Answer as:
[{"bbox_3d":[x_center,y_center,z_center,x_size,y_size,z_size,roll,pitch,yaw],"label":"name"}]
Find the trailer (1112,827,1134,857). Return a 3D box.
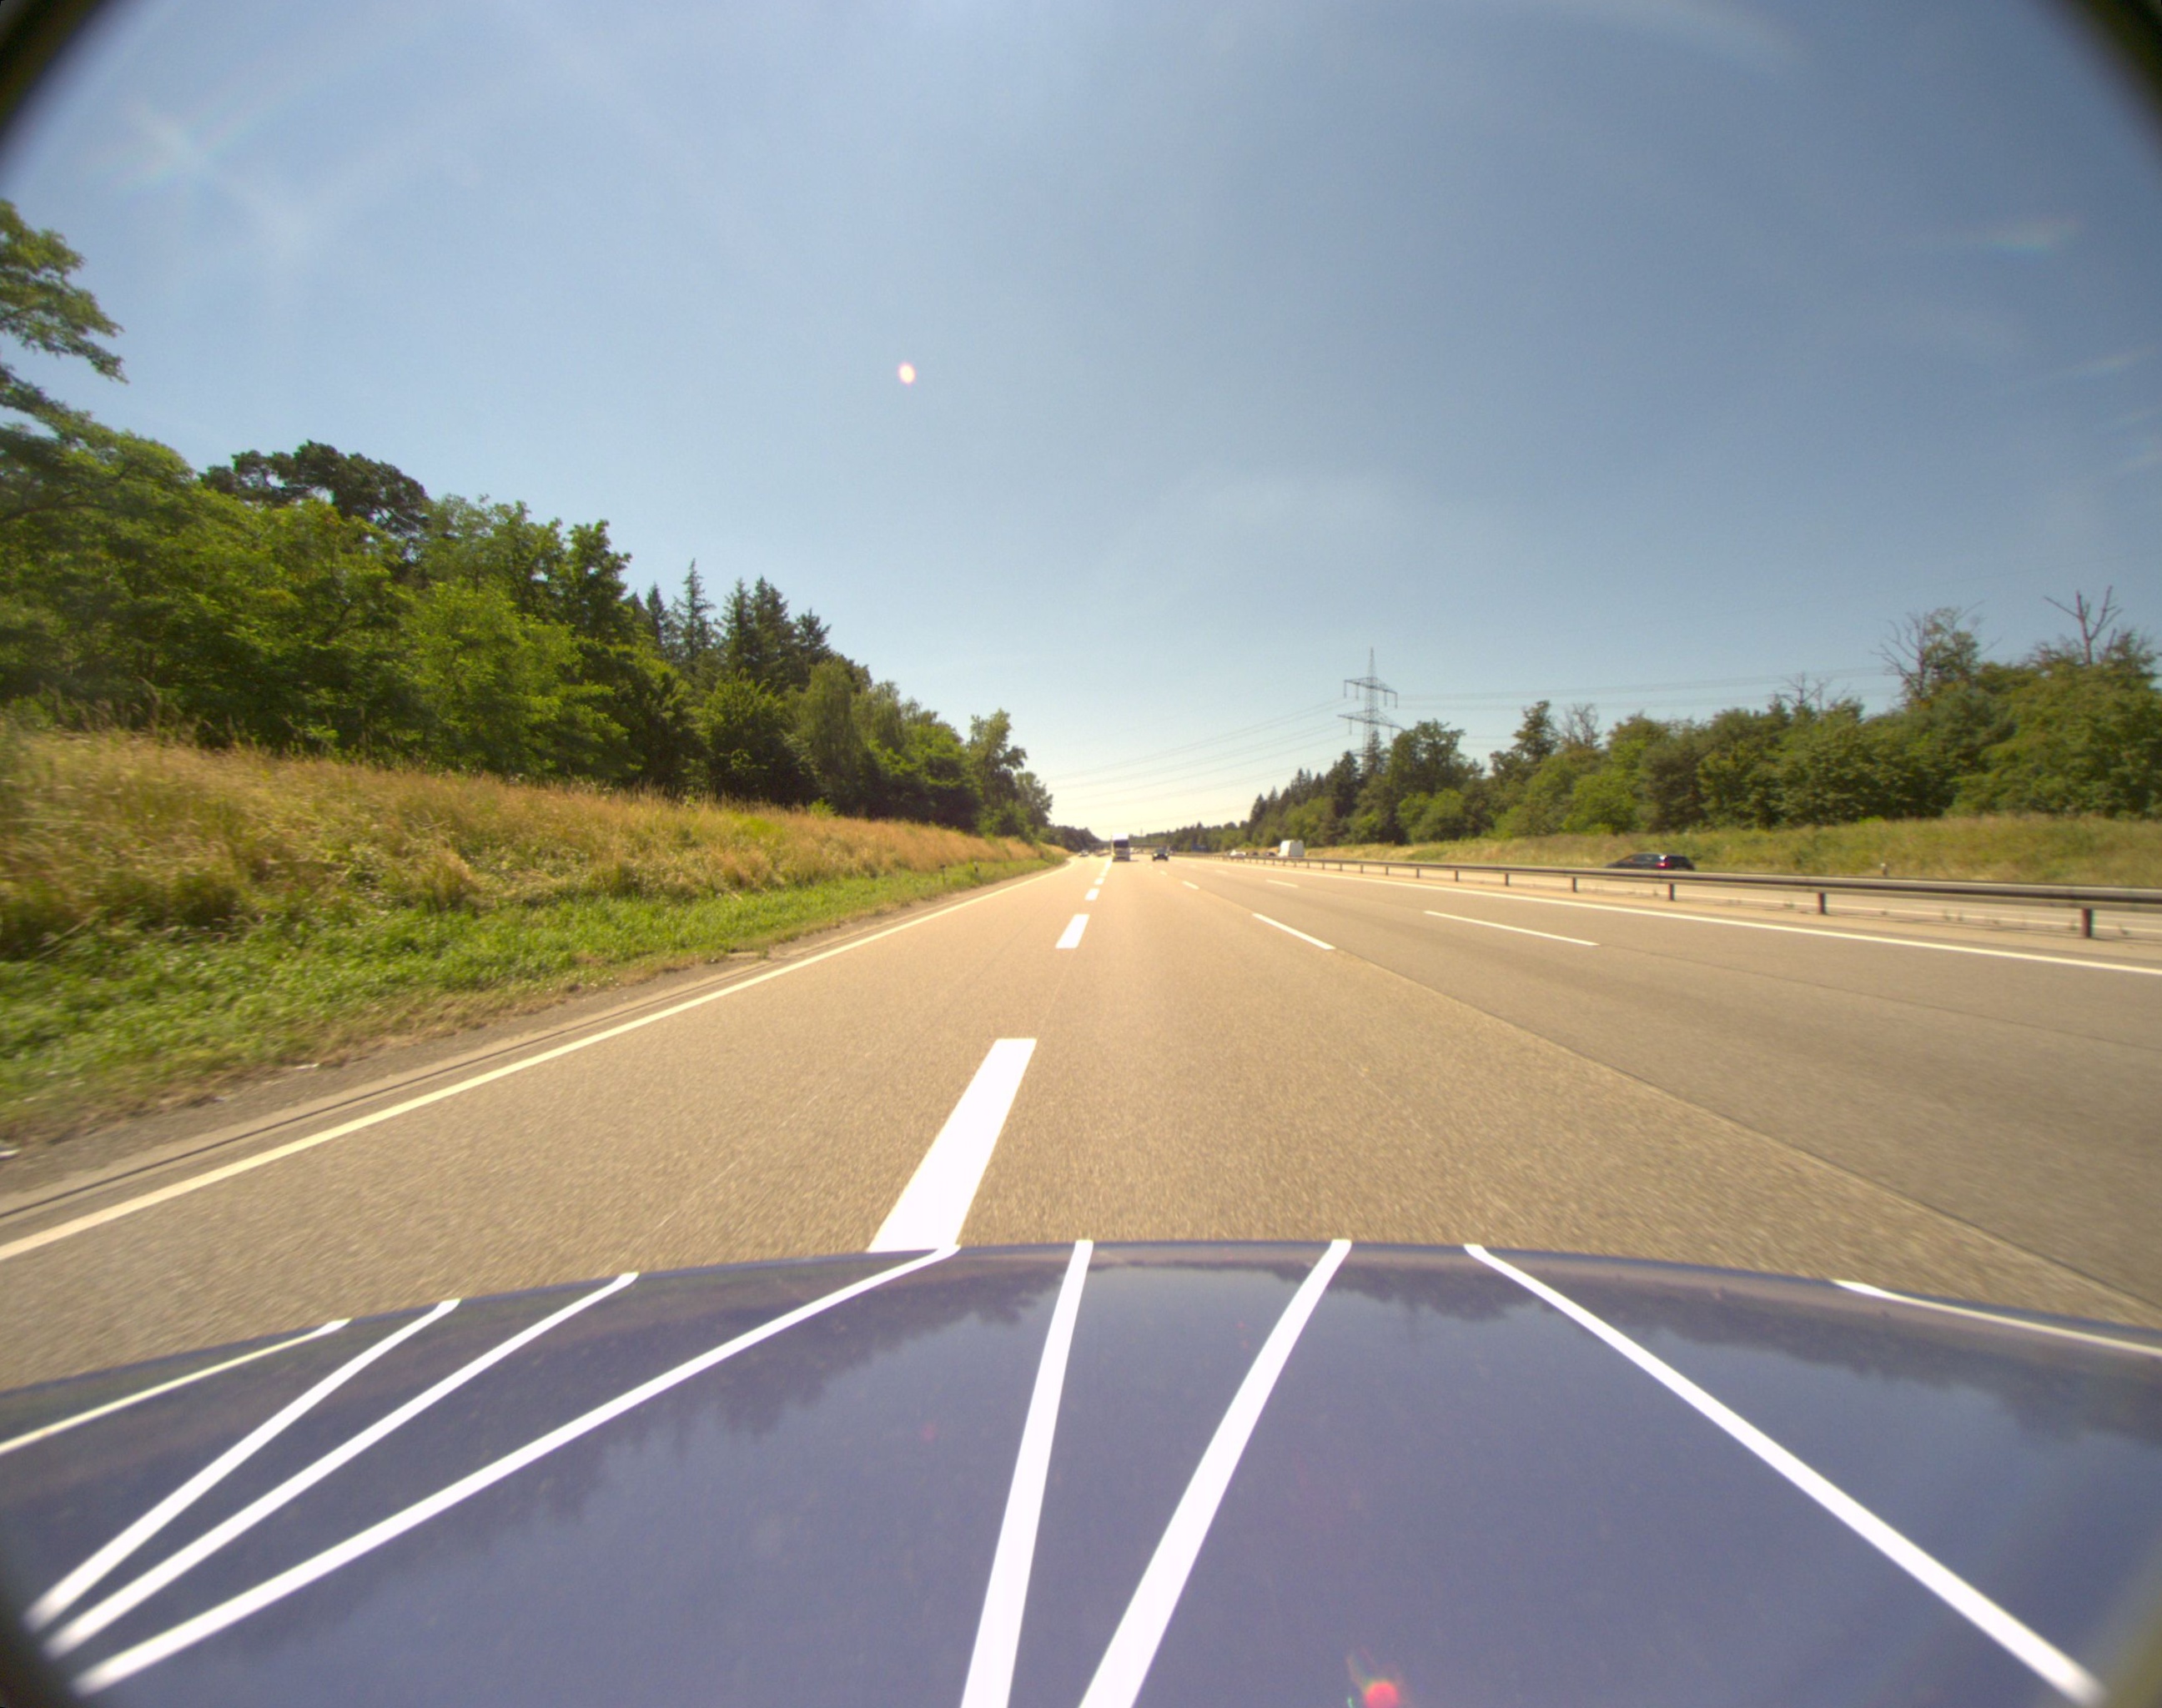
[{"bbox_3d":[6.246,-1.709,112.404,2.981,4.118,11.699,-1,0,4],"label":"trailer"}]

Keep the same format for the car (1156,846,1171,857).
[{"bbox_3d":[11.099,-0.371,102.468,1.898,1.417,4.262,-2,1,5],"label":"car"}]

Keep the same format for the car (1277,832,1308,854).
[{"bbox_3d":[27.349,-1.407,98.597,2.348,2.695,6.873,1,1,2],"label":"car"}]

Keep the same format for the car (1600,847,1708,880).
[{"bbox_3d":[28.179,0.414,37.585,1.831,1.501,4.743,0,1,2],"label":"car"}]

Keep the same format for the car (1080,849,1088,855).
[{"bbox_3d":[0.937,-0.528,215.320,1.898,1.417,4.262,-2,1,5],"label":"car"}]

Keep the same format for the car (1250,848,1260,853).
[{"bbox_3d":[45.169,-0.937,197.527,1.793,1.412,4.436,-2,1,4],"label":"car"}]

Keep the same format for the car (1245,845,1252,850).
[{"bbox_3d":[48.887,-1.932,222.026,1.562,1.518,4.000,-2,1,4],"label":"car"}]

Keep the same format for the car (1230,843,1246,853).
[{"bbox_3d":[24.658,-0.942,119.459,1.695,1.383,4.676,1,1,2],"label":"car"}]

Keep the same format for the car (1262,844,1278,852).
[{"bbox_3d":[32.706,-1.013,131.605,1.695,1.383,4.676,1,1,2],"label":"car"}]

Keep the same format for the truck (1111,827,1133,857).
[{"bbox_3d":[5.791,-1.677,106.623,2.979,4.118,5.350,-1,0,5],"label":"truck"}]
